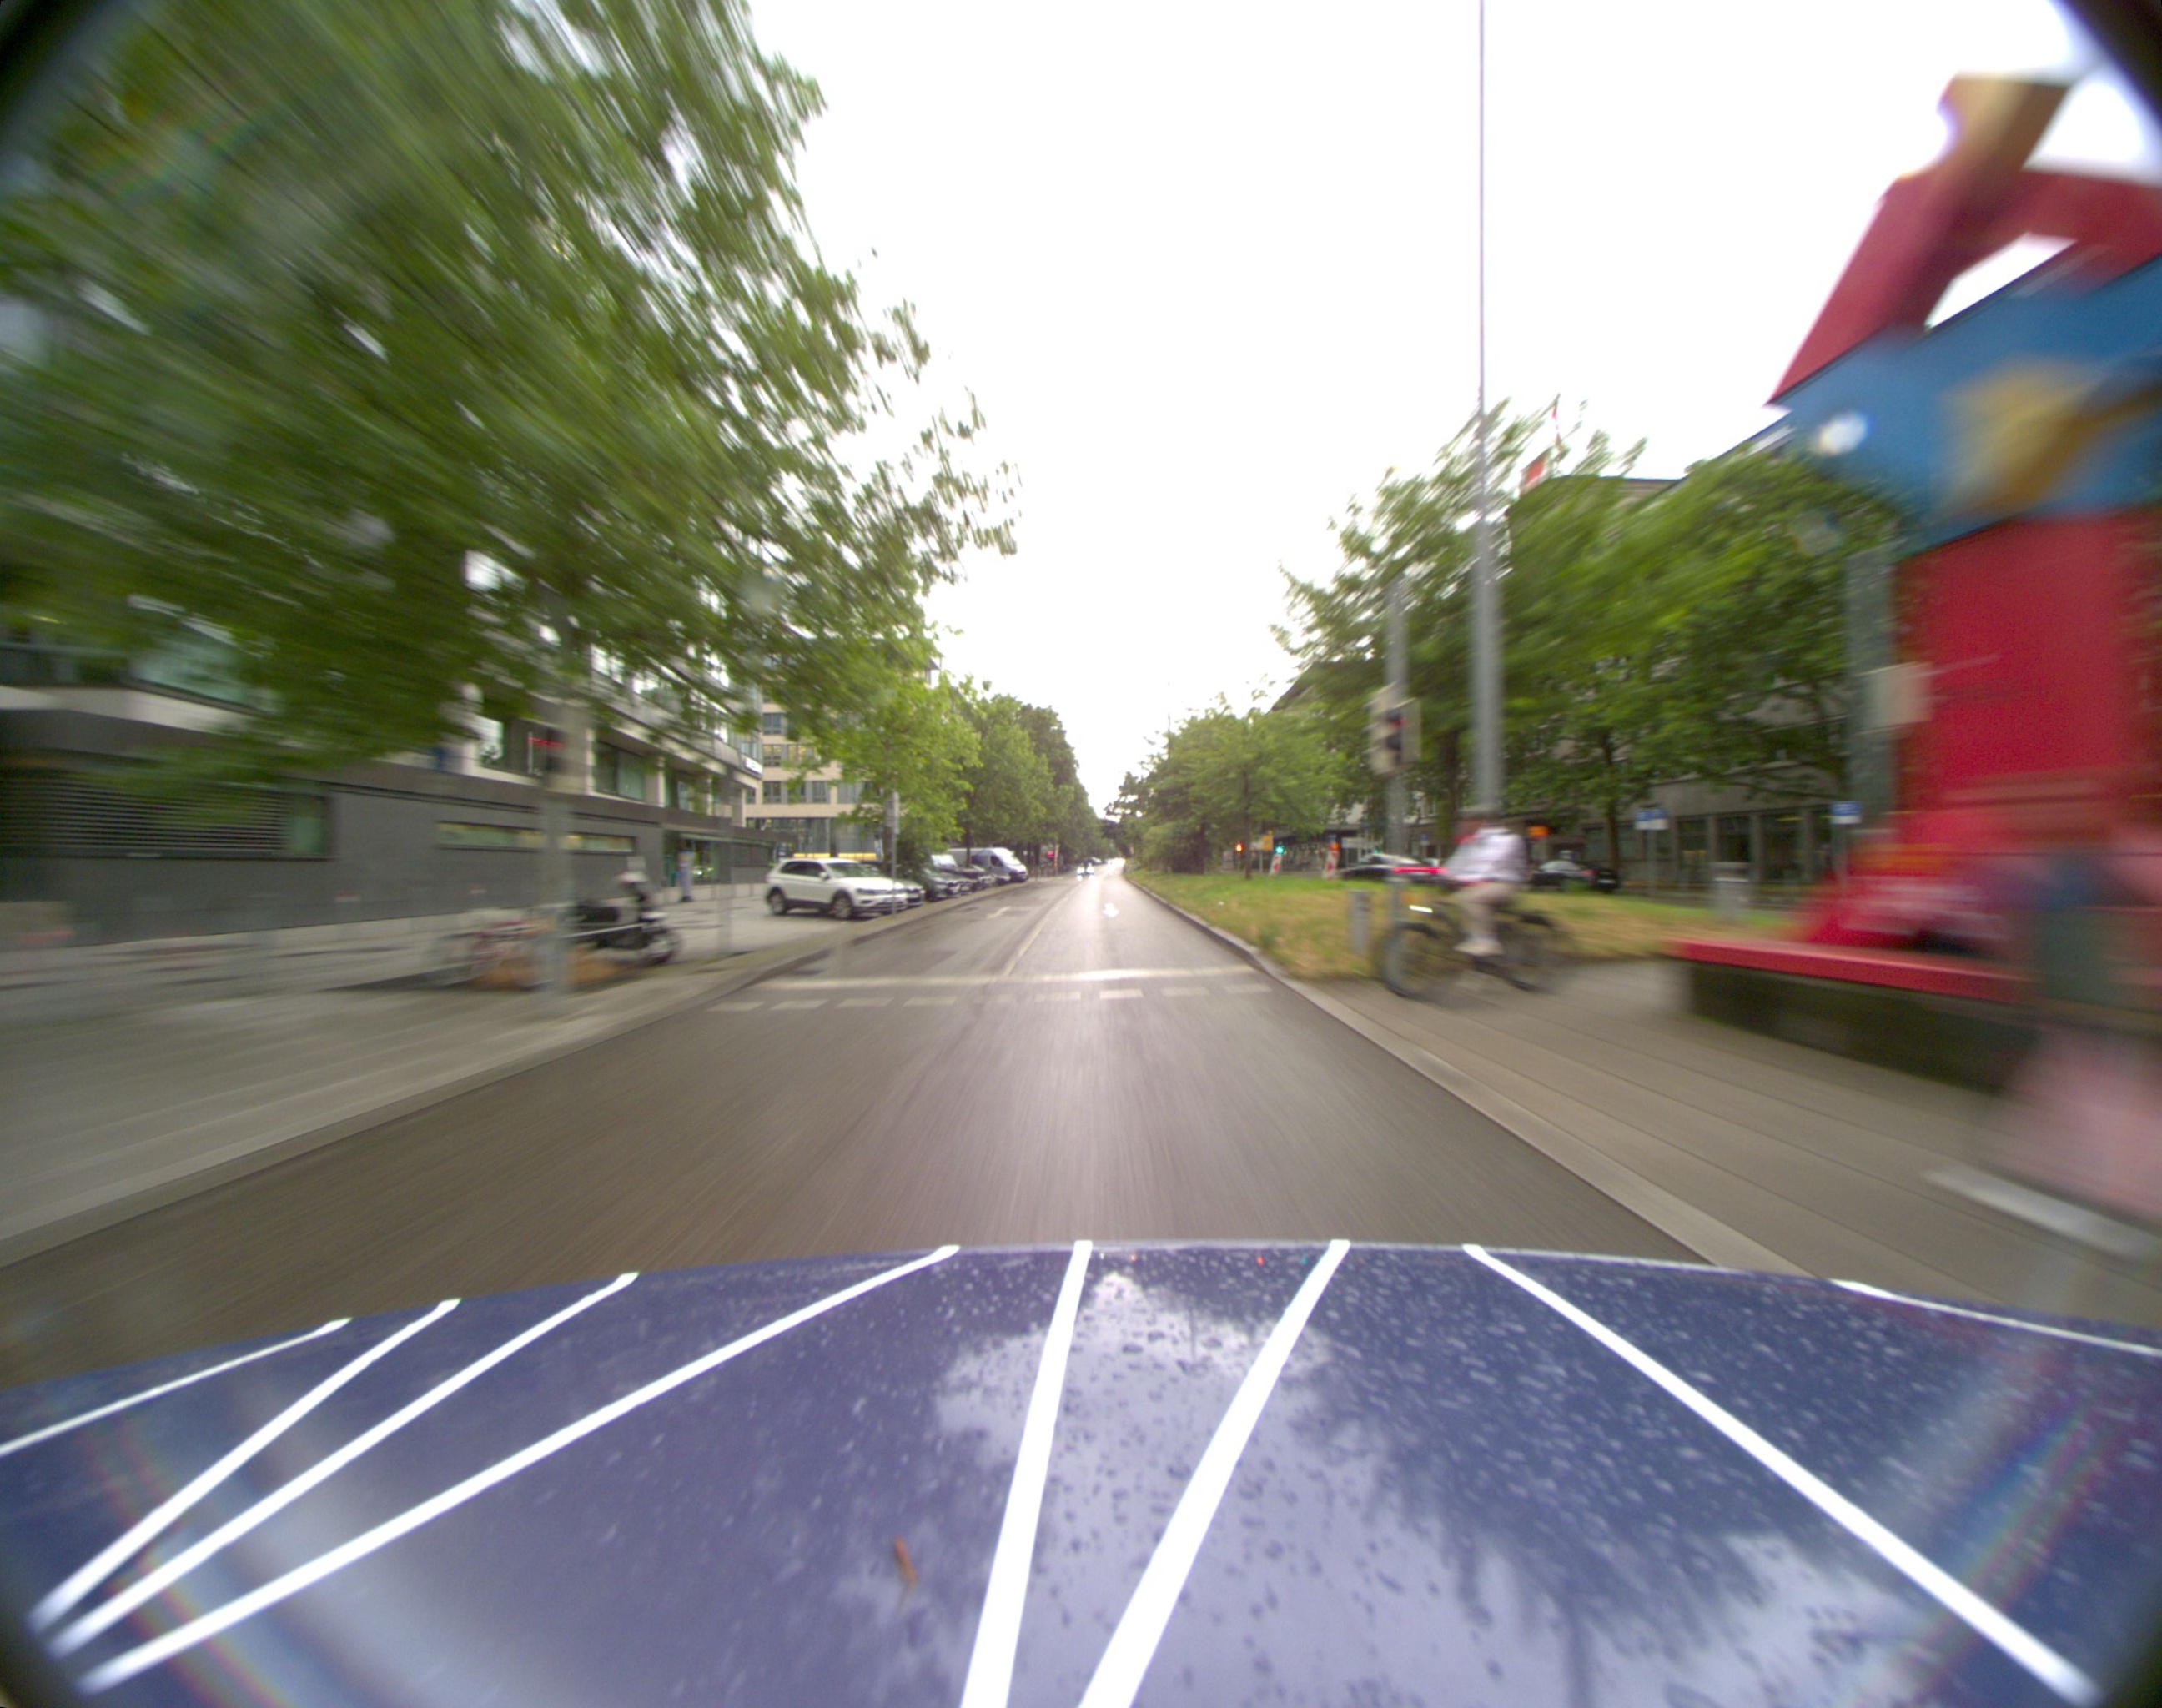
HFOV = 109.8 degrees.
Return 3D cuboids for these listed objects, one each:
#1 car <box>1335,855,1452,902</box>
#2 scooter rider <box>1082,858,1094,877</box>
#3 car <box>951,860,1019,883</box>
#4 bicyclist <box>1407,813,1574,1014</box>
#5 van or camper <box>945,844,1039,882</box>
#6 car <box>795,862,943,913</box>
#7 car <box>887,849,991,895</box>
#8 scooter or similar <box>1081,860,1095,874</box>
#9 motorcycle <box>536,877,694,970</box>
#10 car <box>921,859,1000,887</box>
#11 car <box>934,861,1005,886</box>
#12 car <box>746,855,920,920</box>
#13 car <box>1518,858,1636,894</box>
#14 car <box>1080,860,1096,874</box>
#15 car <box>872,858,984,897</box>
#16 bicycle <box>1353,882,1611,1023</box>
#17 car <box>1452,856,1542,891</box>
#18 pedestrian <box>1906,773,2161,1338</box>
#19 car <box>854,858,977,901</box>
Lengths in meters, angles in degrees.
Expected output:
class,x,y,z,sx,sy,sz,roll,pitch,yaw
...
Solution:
class,x,y,z,sx,sy,sz,roll,pitch,yaw
car,10.667,0.779,26.333,1.795,1.458,4.724,1,0,-4
scooter rider,0.710,1.322,76.763,0.980,1.892,1.024,0,0,16
car,-6.091,1.107,48.274,4.051,1.415,1.712,-1,0,30
bicyclist,3.848,0.529,7.219,1.078,1.739,0.812,-4,2,3
van or camper,-6.124,0.637,51.940,6.249,2.432,2.320,-1,0,31
car,-6.834,1.048,24.355,4.710,1.465,1.920,-1,0,33
car,-6.540,0.816,34.831,4.506,1.981,1.926,-1,0,30
scooter or similar,0.721,1.298,76.814,0.979,1.347,1.873,0,0,17
motorcycle,-7.104,1.055,11.618,2.087,1.349,0.678,-1,0,9
car,-6.502,1.038,40.921,4.003,1.415,1.712,-1,0,30
car,-6.746,1.163,45.866,4.051,1.415,1.712,-1,0,30
car,-6.968,0.892,21.189,4.791,1.640,1.920,-1,0,31
car,20.629,0.880,31.865,1.866,1.421,4.565,0,0,-1
car,0.831,1.586,93.223,1.790,1.736,4.575,0,0,-1
car,-6.450,0.970,31.947,4.380,1.528,1.920,-1,0,28
bicycle,3.739,0.905,7.226,1.976,1.132,0.777,-4,0,3
car,20.152,0.917,37.064,1.866,1.612,4.467,0,0,-1
pedestrian,3.474,0.595,2.589,0.529,1.675,0.721,-1,0,3
car,-6.368,0.967,29.160,4.346,1.528,1.920,-1,0,28
